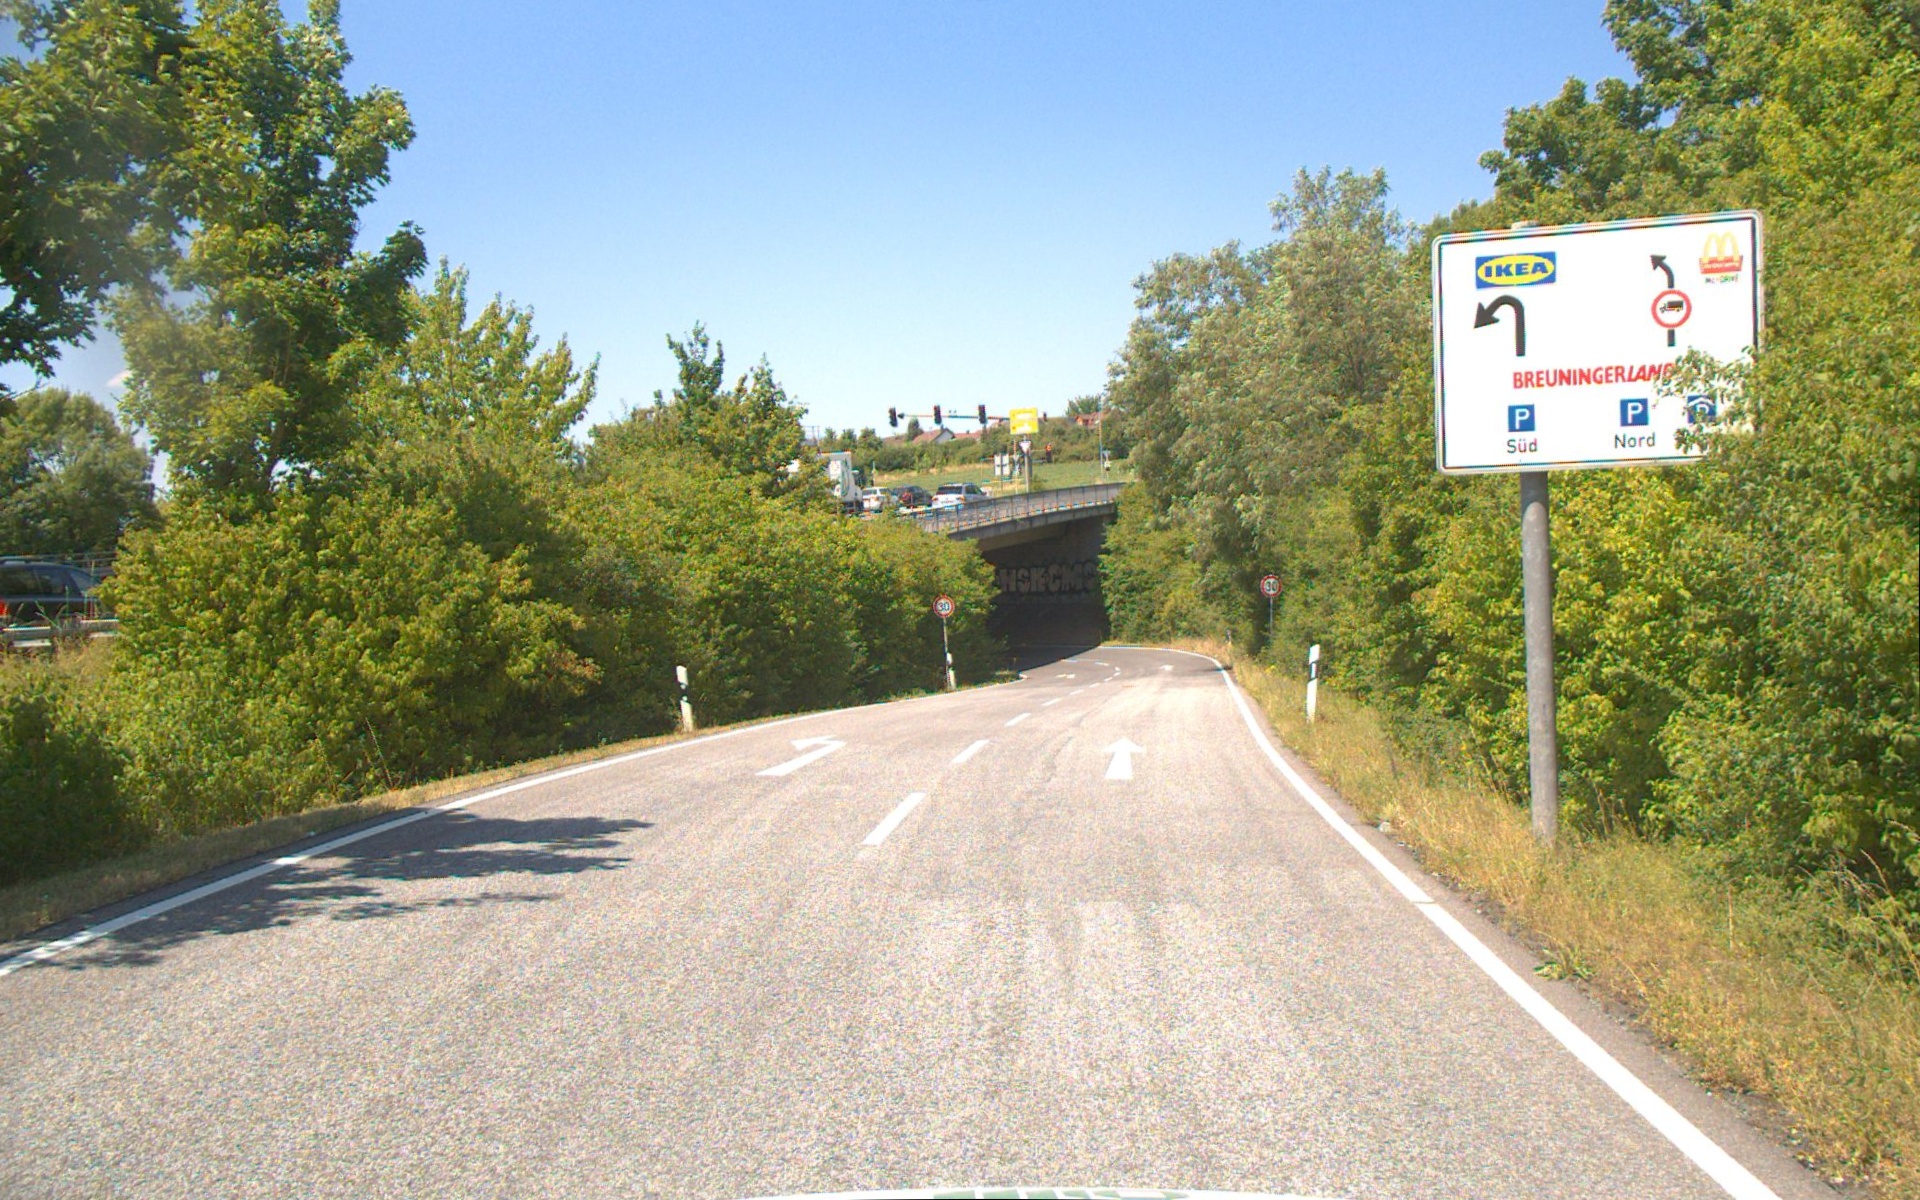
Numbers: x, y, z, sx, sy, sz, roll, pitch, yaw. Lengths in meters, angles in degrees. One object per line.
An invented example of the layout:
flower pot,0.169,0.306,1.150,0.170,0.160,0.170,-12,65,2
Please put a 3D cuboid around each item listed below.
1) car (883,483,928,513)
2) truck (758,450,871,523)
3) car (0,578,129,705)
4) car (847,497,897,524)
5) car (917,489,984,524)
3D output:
car,-3.465,-6.482,105.529,1.951,1.646,4.004,-1,0,12
truck,-7.941,-6.216,91.683,2.963,3.651,8.911,-3,2,17
car,-13.126,0.545,22.791,1.700,1.572,4.721,-3,1,-11
car,-5.194,-5.300,98.302,1.856,1.387,4.003,-1,0,14
car,-0.408,-4.298,76.343,1.951,1.445,4.004,-4,2,16
